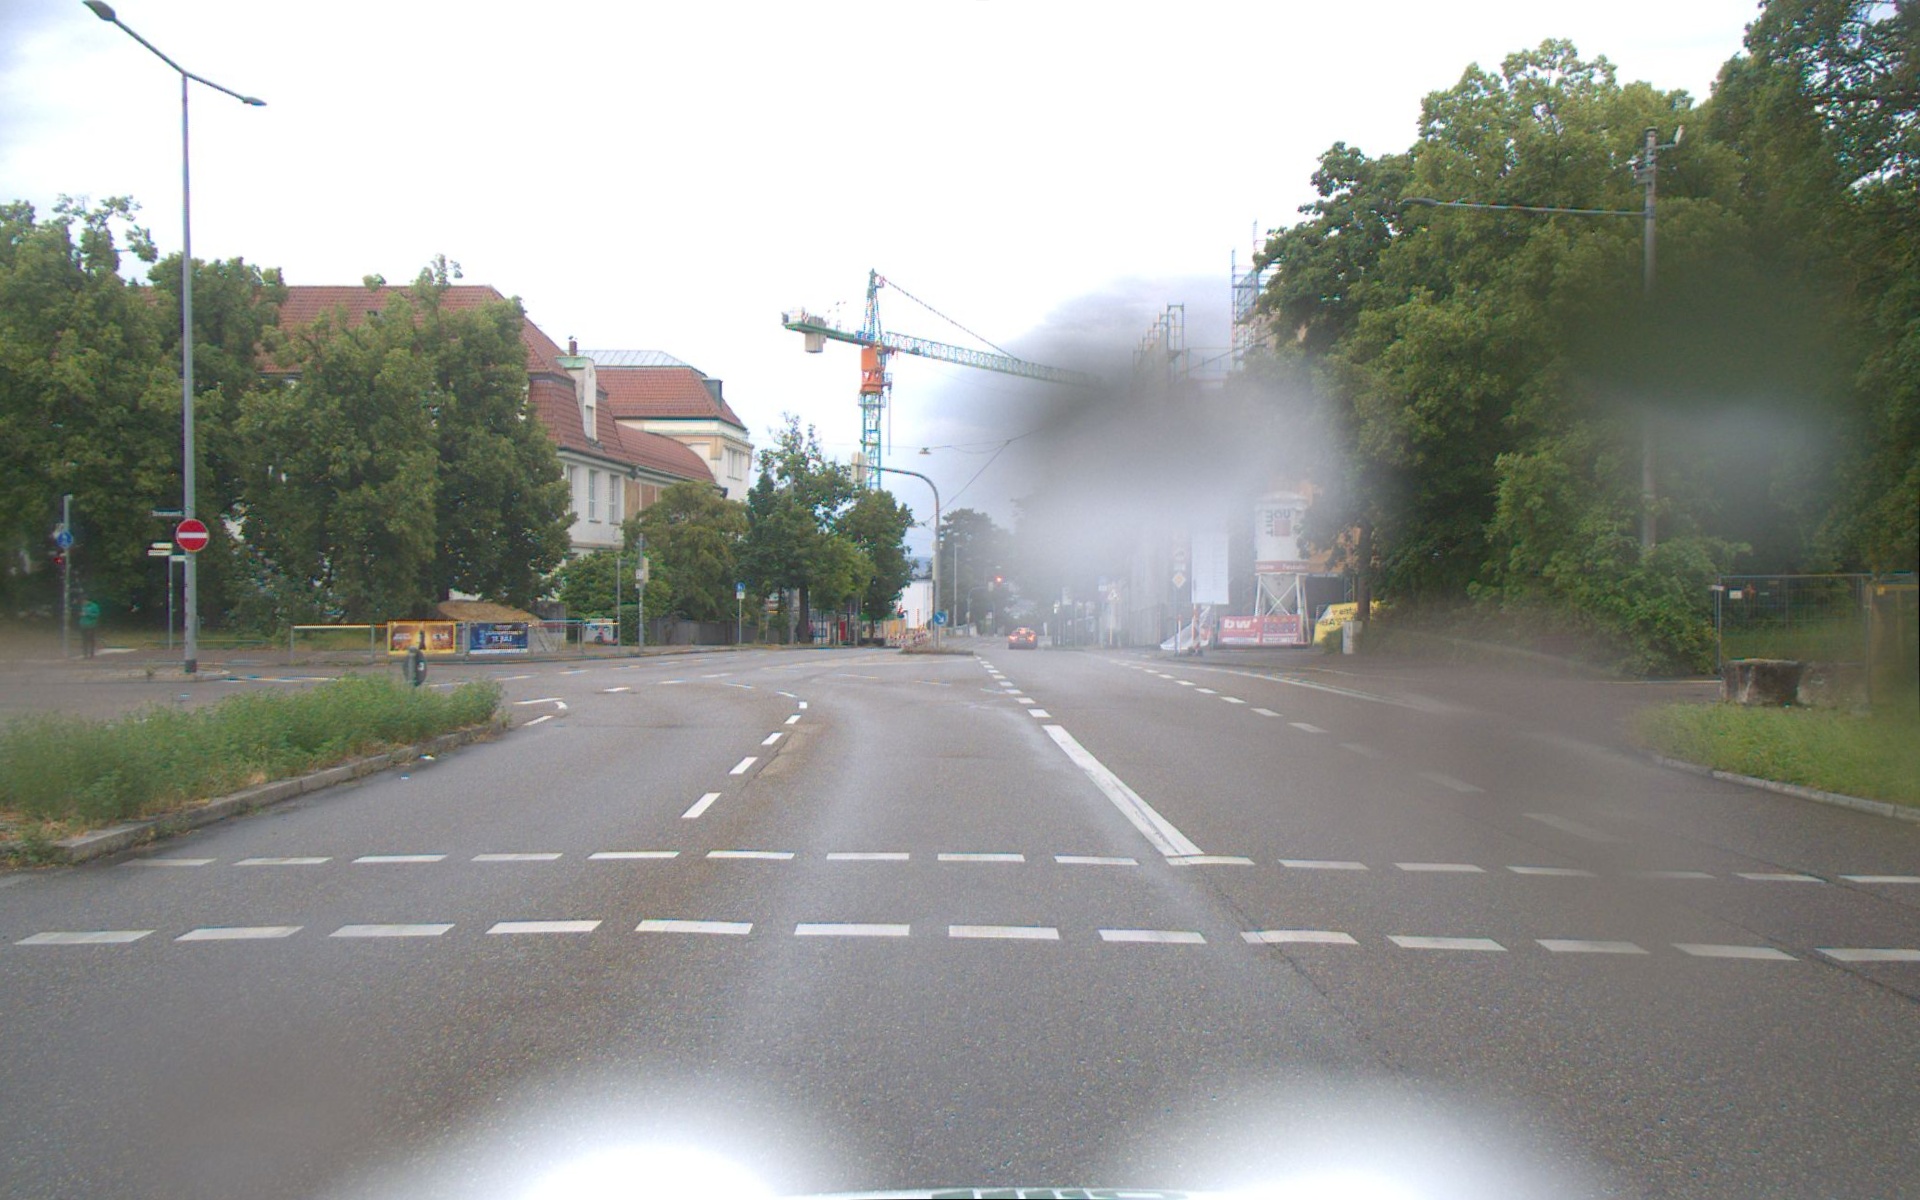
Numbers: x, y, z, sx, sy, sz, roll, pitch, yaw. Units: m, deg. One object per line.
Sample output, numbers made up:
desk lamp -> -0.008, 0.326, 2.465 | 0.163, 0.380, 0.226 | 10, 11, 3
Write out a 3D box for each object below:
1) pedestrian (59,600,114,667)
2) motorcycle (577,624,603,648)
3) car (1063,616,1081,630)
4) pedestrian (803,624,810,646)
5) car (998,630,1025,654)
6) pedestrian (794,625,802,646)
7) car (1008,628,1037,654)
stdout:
pedestrian -> -23.156, 0.884, 43.871 | 0.903, 1.757, 0.946 | 1, 0, 3
motorcycle -> -14.455, 1.407, 64.639 | 0.832, 0.893, 0.877 | 1, 0, -1
car -> 14.891, 3.108, 219.526 | 1.951, 1.780, 4.003 | -1, 0, 10
pedestrian -> -10.237, 2.320, 110.243 | 0.465, 1.421, 0.411 | 0, 0, -1
car -> 4.055, 3.315, 131.026 | 1.953, 1.780, 3.999 | -1, 0, -1
pedestrian -> -10.796, 2.374, 110.277 | 0.465, 1.421, 0.411 | 0, 0, -1
car -> 4.659, 3.039, 123.488 | 1.953, 1.780, 3.999 | -1, 0, -1
